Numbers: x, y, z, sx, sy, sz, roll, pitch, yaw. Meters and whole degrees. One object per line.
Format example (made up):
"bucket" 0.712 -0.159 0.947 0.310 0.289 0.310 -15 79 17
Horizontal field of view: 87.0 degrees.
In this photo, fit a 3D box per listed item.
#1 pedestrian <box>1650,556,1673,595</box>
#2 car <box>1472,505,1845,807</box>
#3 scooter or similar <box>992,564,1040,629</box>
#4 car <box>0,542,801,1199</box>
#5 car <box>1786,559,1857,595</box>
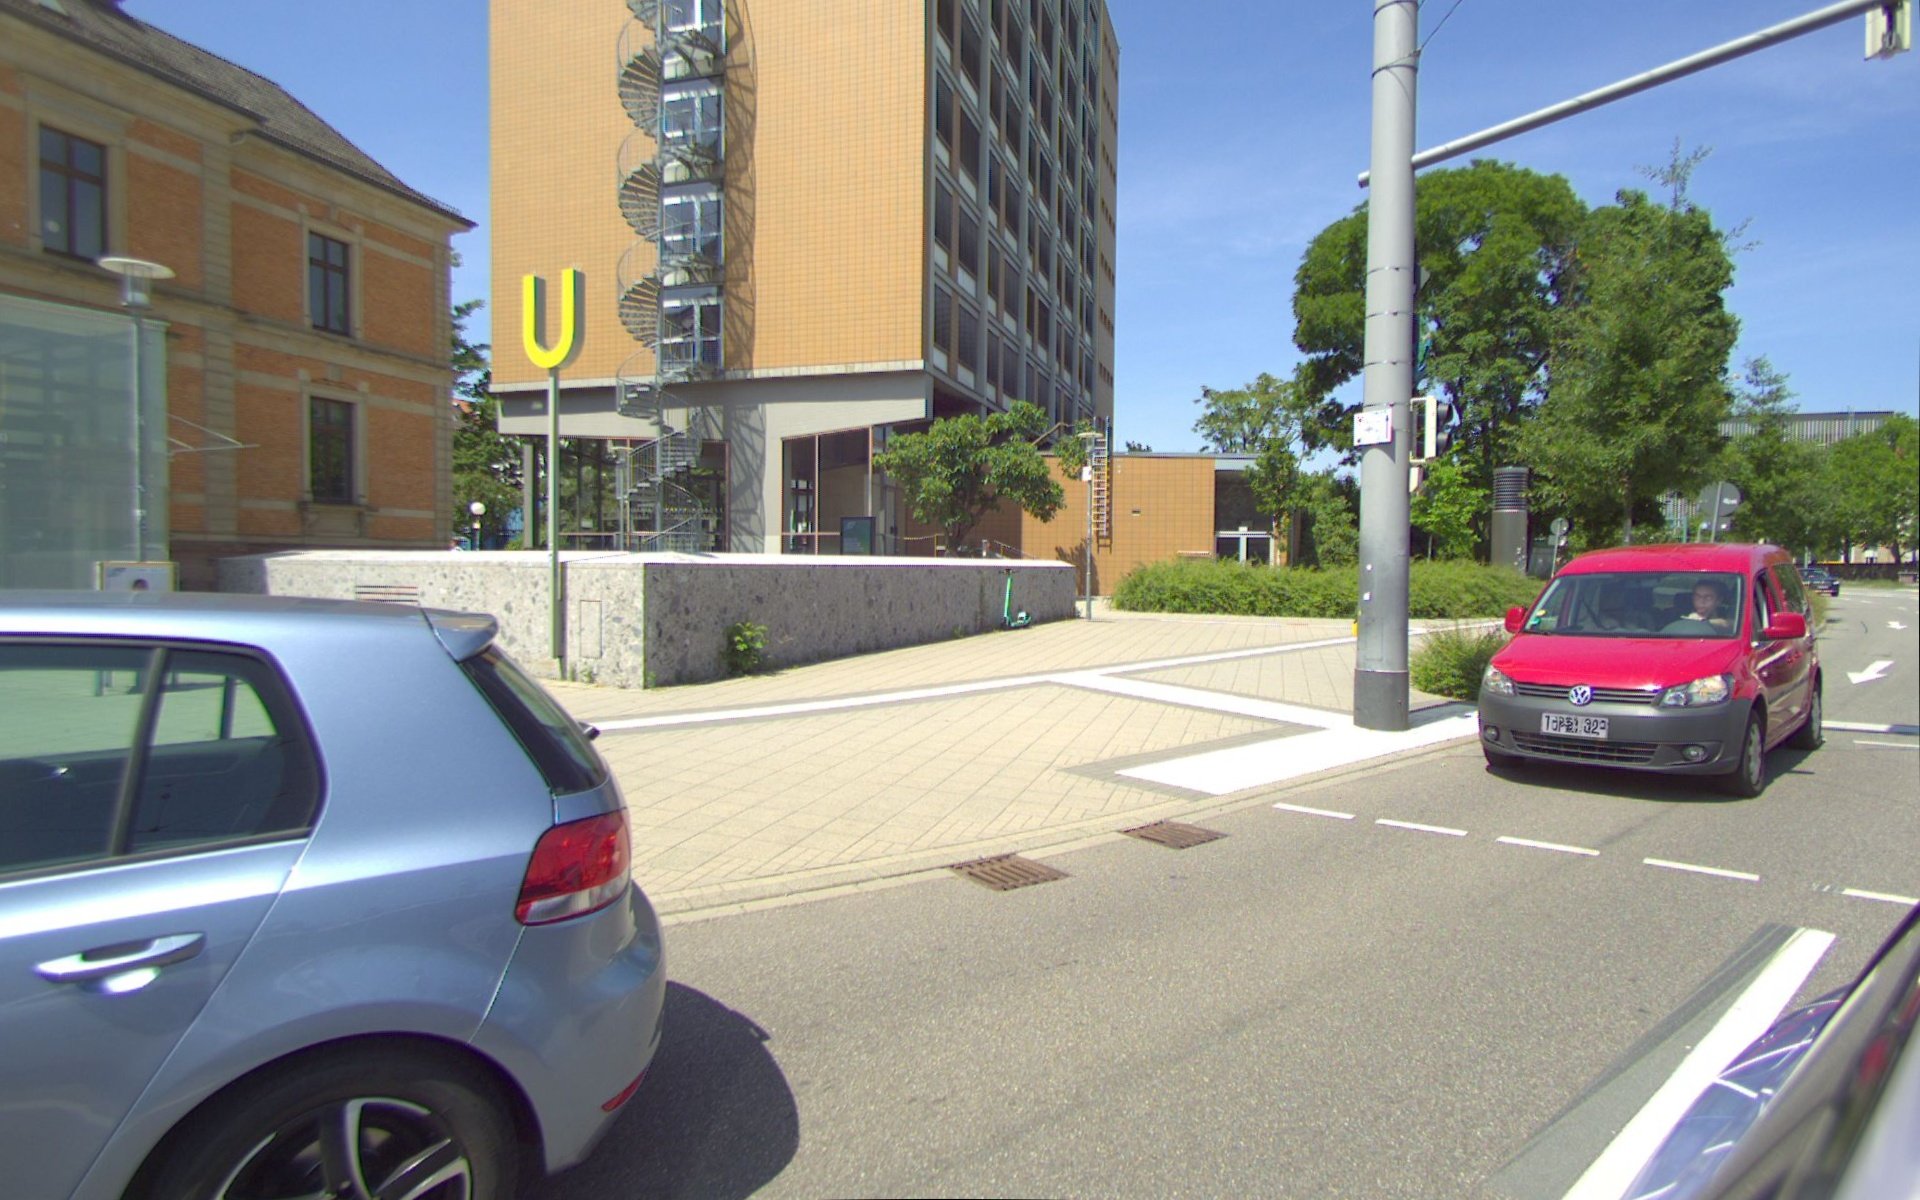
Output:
"pedestrian" 33.167 -1.153 47.857 0.603 1.820 0.728 -1 2 -42
"car" 5.991 0.286 8.439 4.470 1.882 1.653 -2 2 -43
"scooter or similar" 1.074 -0.089 19.360 0.454 1.185 1.239 1 2 27
"car" -2.464 0.657 1.940 3.926 1.477 1.657 -1 1 -33
"car" 50.509 -1.352 59.413 1.977 2.038 3.971 1 2 23
